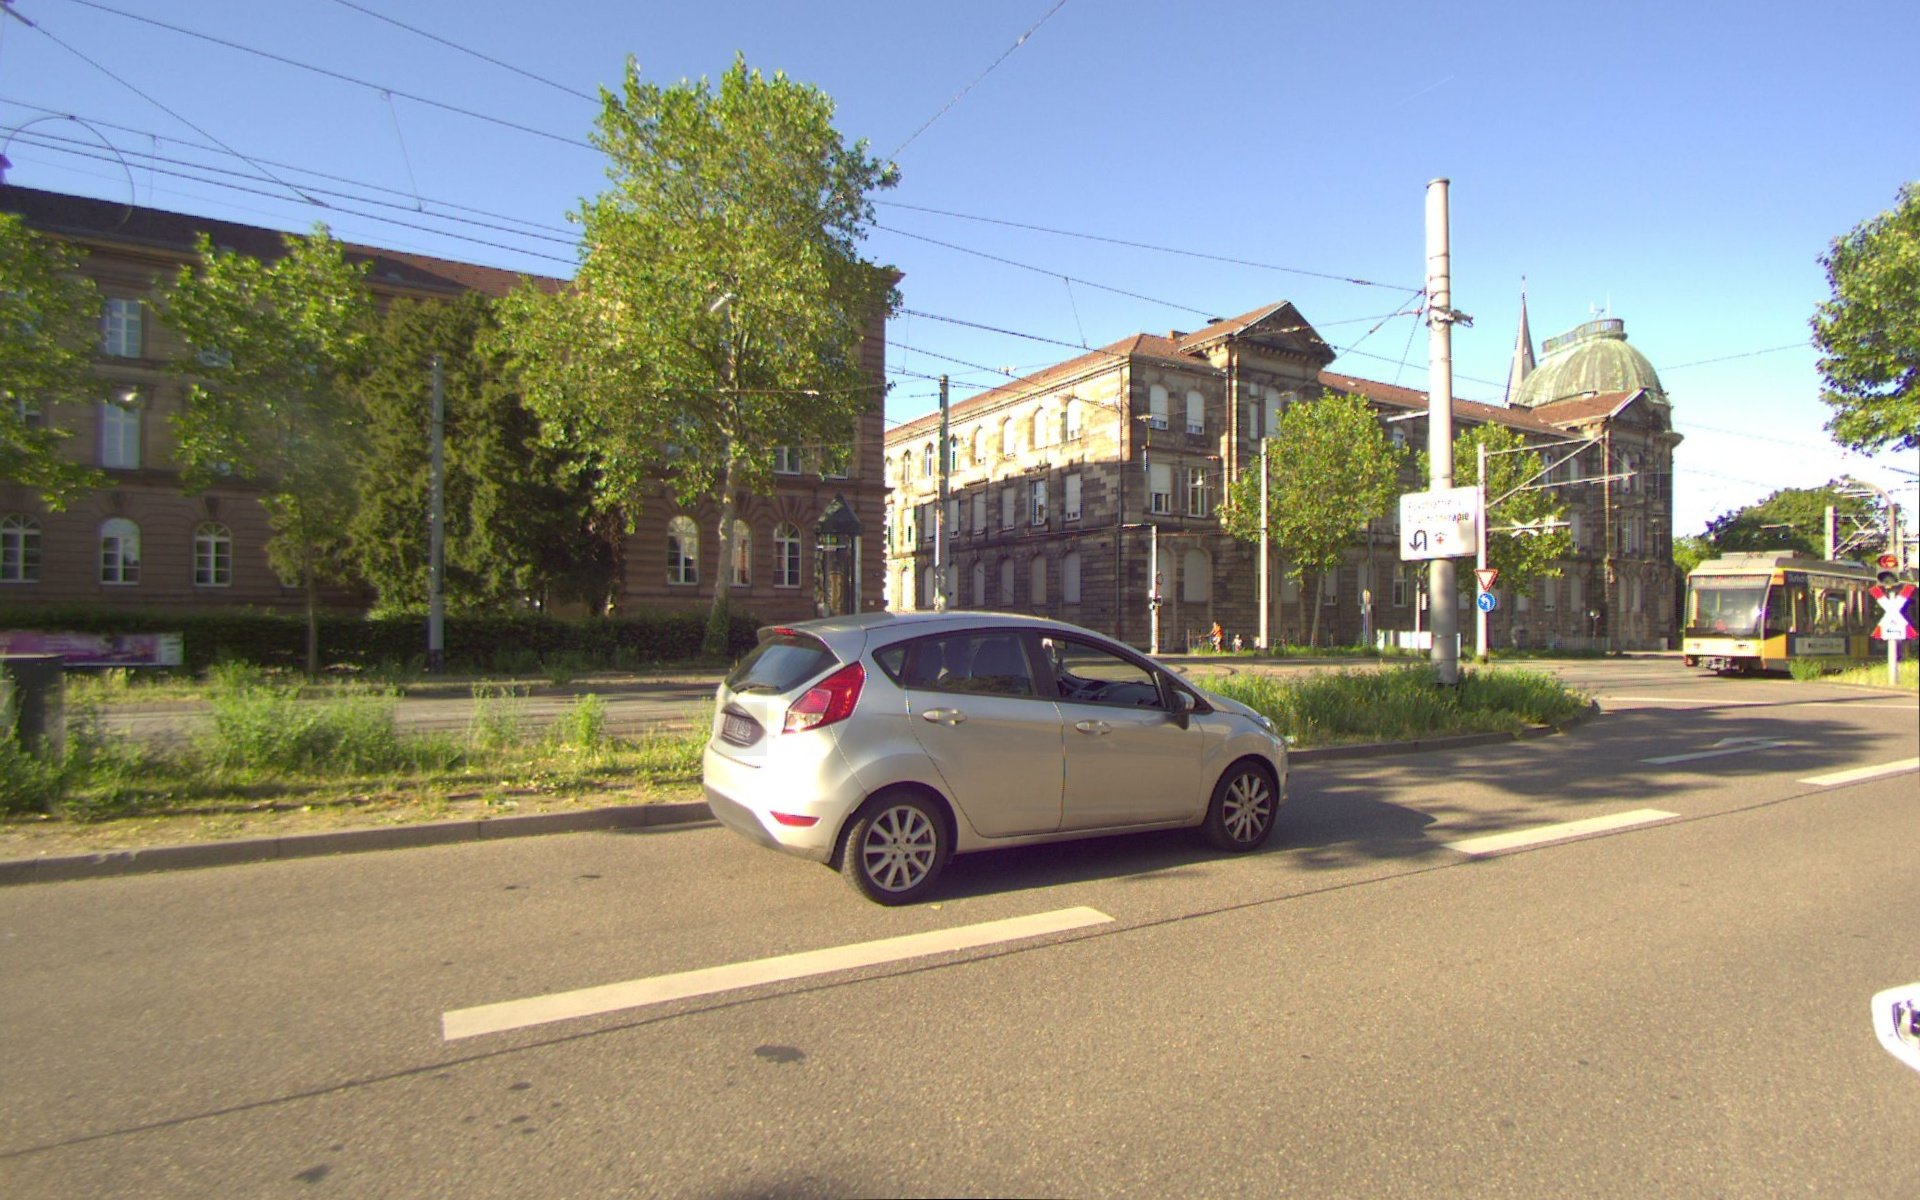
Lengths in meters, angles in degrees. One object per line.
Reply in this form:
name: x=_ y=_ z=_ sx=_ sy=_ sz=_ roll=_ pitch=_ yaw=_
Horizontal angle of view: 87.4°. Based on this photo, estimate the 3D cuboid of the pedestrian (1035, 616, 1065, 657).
pedestrian: x=4.085 y=1.641 z=45.647 sx=0.990 sy=1.824 sz=0.858 roll=1 pitch=1 yaw=-29

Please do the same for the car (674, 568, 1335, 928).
car: x=0.377 y=0.698 z=6.237 sx=3.820 sy=1.617 sz=1.653 roll=2 pitch=0 yaw=-32

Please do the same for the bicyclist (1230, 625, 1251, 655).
bicyclist: x=14.521 y=2.077 z=51.954 sx=0.717 sy=1.481 sz=0.795 roll=2 pitch=0 yaw=-12

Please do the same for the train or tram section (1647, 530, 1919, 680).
train or tram section: x=26.031 y=0.274 z=31.032 sx=14.125 sy=3.863 sz=2.910 roll=2 pitch=0 yaw=-34

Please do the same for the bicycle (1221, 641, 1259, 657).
bicycle: x=14.475 y=2.542 z=51.899 sx=1.869 sy=0.732 sz=0.525 roll=2 pitch=0 yaw=-14

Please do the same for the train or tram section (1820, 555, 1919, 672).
train or tram section: x=33.493 y=0.481 z=36.089 sx=3.825 sy=3.949 sz=2.937 roll=2 pitch=0 yaw=-34

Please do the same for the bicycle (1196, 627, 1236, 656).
bicycle: x=12.740 y=2.070 z=49.974 sx=2.328 sy=1.408 sz=0.521 roll=2 pitch=0 yaw=-36

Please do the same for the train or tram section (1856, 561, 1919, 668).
train or tram section: x=39.509 y=0.662 z=40.134 sx=10.690 sy=3.949 sz=2.934 roll=2 pitch=0 yaw=-34

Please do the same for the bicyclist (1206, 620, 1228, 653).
bicyclist: x=12.784 y=1.803 z=49.975 sx=0.863 sy=1.646 sz=0.668 roll=1 pitch=0 yaw=-39
